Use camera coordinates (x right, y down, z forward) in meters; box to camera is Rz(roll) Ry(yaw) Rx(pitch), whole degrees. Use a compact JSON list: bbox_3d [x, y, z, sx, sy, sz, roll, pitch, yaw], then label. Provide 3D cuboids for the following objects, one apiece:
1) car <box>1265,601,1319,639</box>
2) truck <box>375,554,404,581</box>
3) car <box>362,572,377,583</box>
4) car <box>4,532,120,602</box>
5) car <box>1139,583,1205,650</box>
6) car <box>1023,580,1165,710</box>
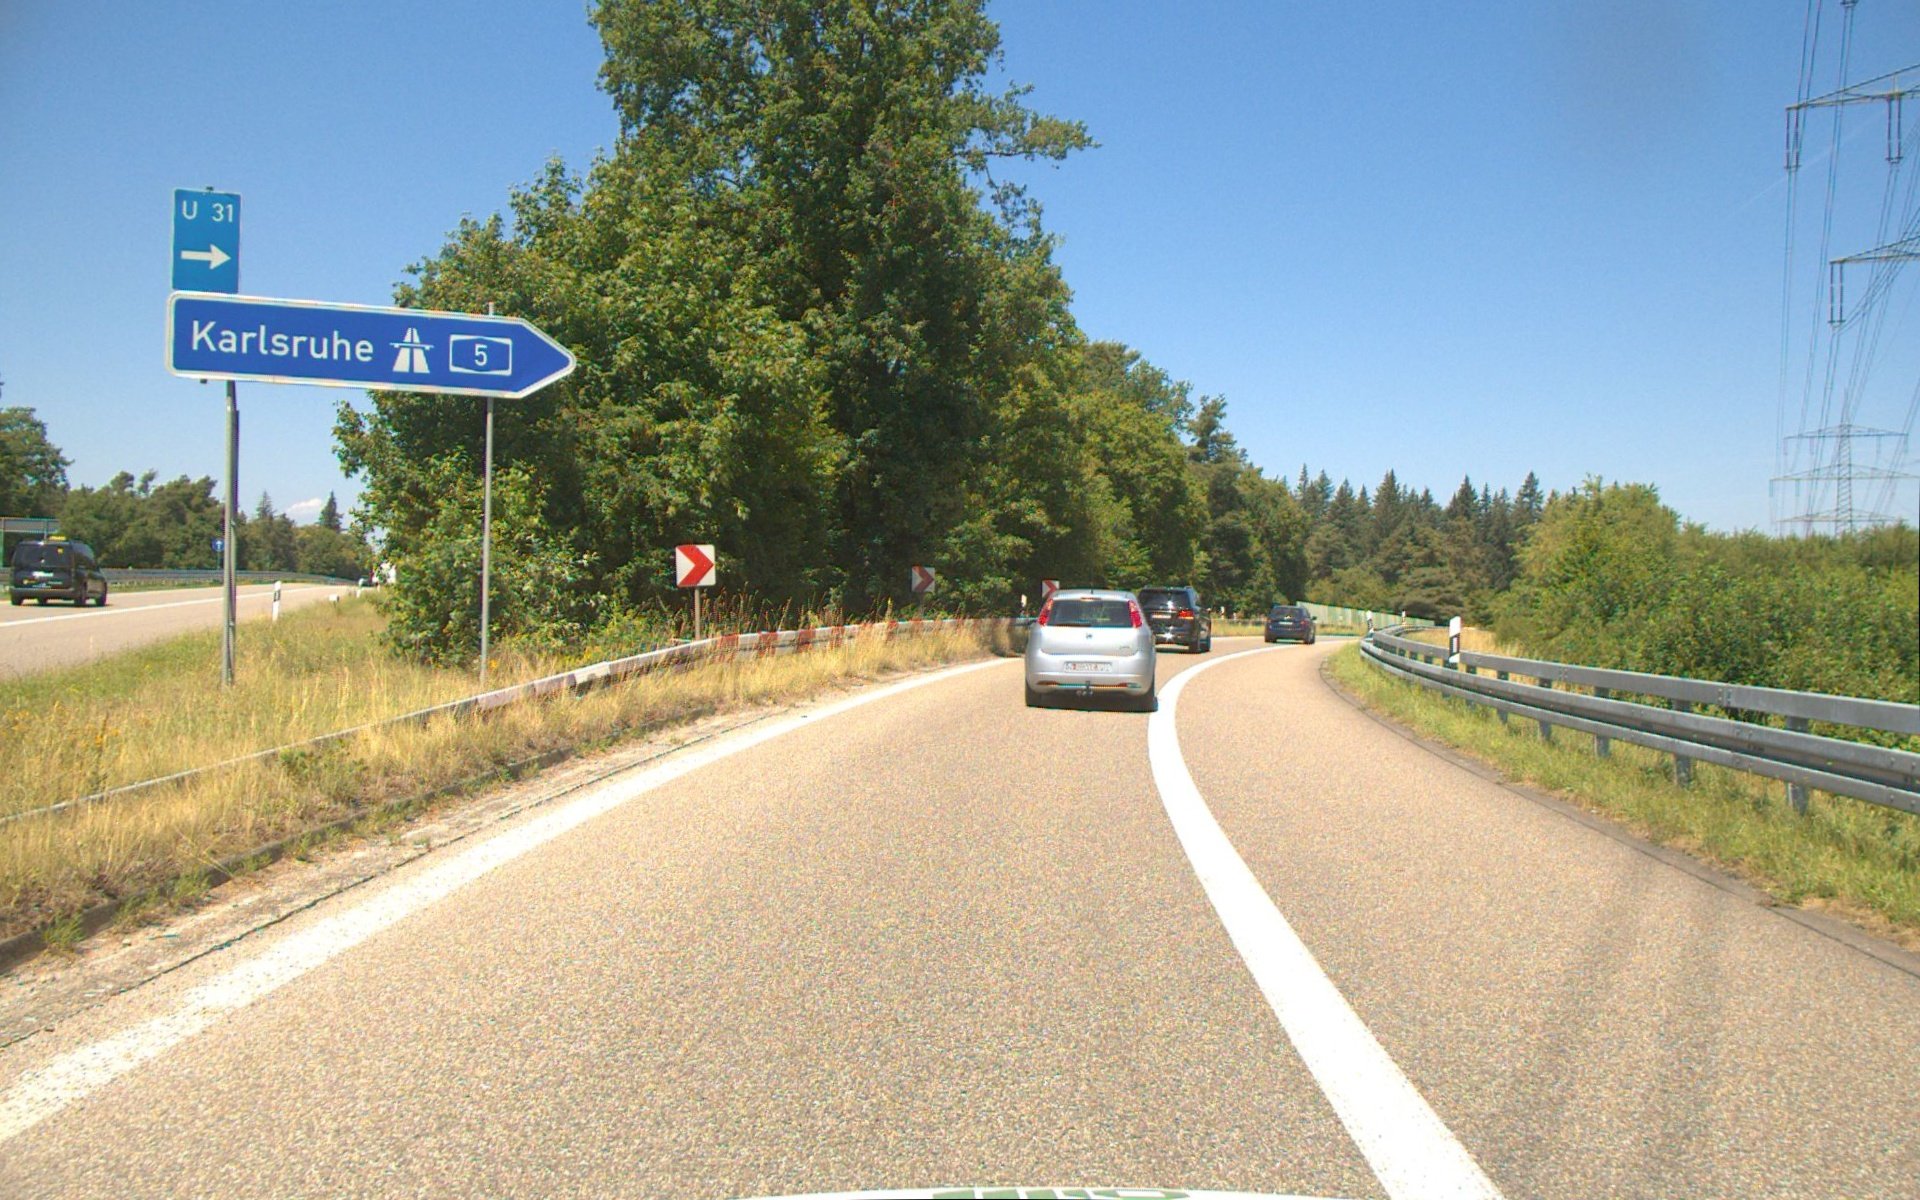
[{"bbox_3d":[12.991,0.781,64.635,1.606,1.366,3.575,3,0,18],"label":"car"},{"bbox_3d":[-59.004,-3.336,171.086,2.577,2.688,7.630,1,1,-17],"label":"truck"},{"bbox_3d":[-82.744,-3.160,231.656,1.685,1.497,3.558,3,0,-17],"label":"car"},{"bbox_3d":[-25.940,-0.951,47.973,1.824,1.920,5.548,0,1,-16],"label":"car"},{"bbox_3d":[5.834,0.429,45.179,1.605,1.682,3.577,3,0,9],"label":"car"},{"bbox_3d":[1.831,0.545,21.778,1.605,1.493,3.422,3,0,8],"label":"car"}]
